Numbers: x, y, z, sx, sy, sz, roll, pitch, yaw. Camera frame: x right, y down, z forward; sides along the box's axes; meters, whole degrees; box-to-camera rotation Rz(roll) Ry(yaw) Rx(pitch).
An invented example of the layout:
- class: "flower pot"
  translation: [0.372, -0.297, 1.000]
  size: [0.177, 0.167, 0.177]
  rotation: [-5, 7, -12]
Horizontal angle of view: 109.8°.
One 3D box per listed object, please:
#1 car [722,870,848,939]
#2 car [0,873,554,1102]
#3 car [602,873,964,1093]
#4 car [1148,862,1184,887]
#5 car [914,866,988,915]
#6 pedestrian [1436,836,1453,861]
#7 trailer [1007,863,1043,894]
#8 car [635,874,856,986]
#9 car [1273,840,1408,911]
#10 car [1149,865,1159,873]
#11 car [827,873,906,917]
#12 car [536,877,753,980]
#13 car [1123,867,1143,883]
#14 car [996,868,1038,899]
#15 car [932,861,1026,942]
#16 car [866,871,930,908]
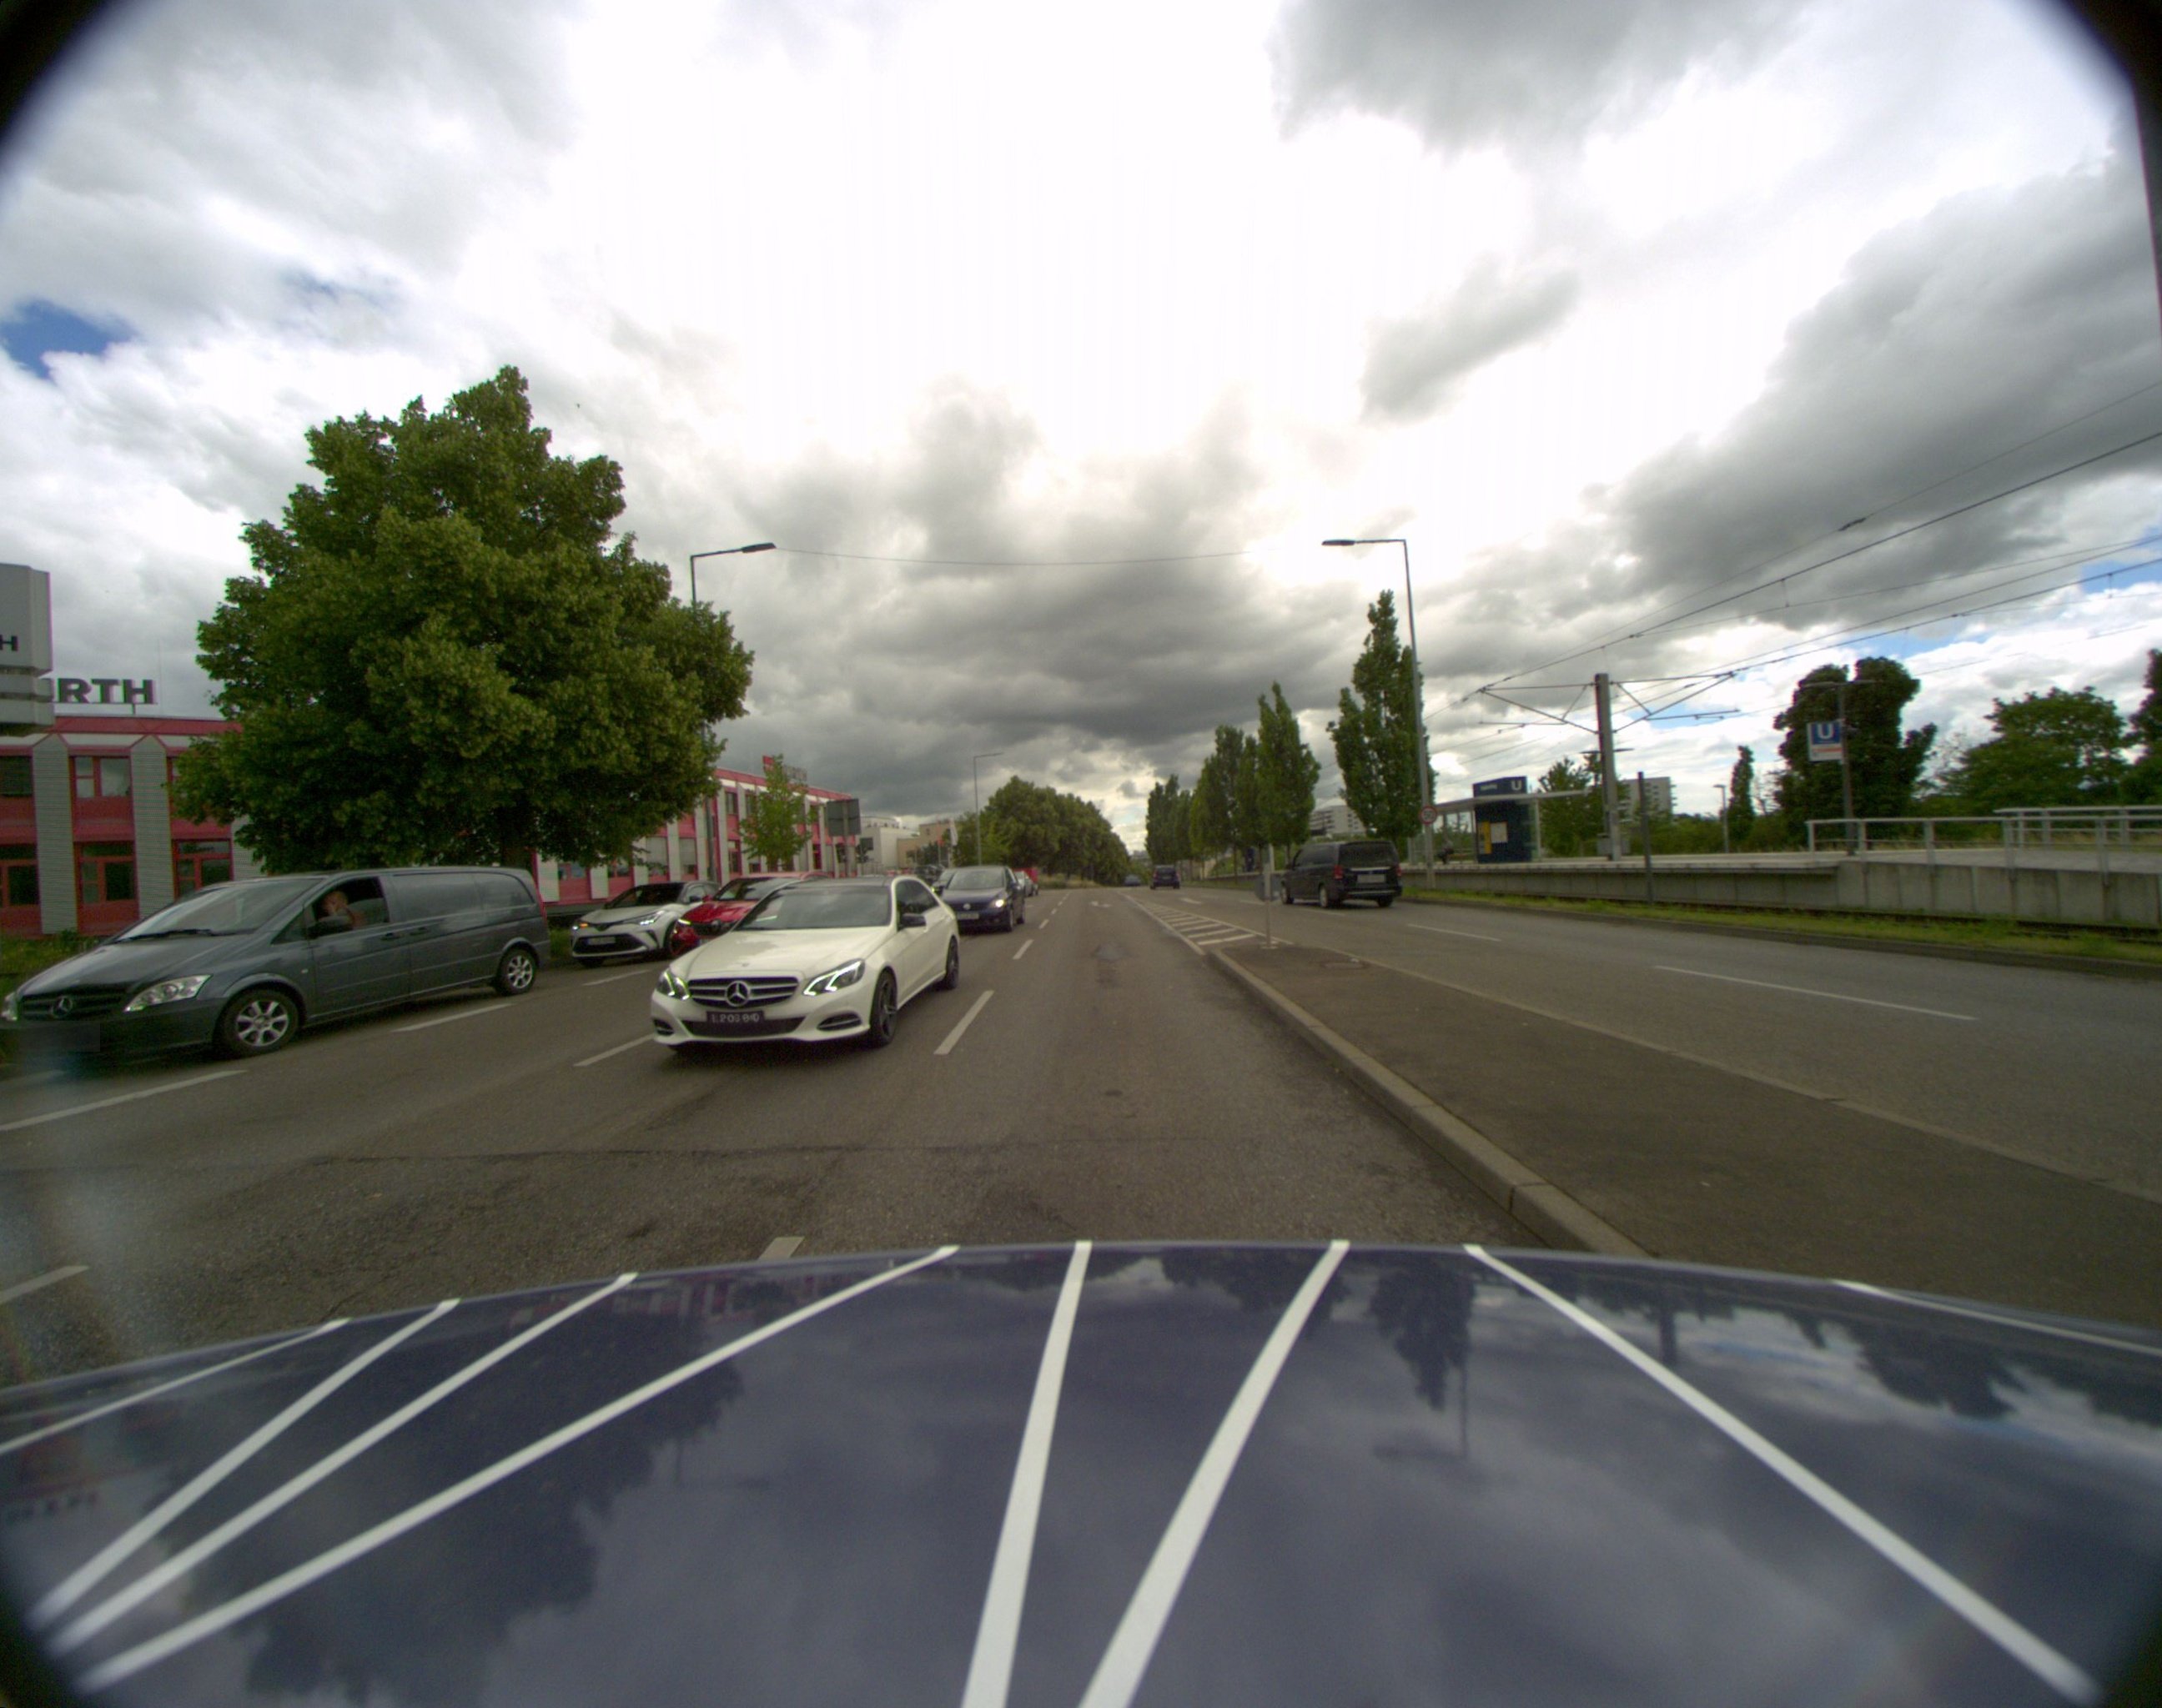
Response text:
- class: "car"
  translation: [-8.447, 1.376, 22.141]
  size: [1.865, 1.648, 4.209]
  rotation: [-4, -1, 1]
- class: "car"
  translation: [-8.748, 1.219, 8.799]
  size: [1.763, 1.764, 4.676]
  rotation: [-6, -1, 2]
- class: "car"
  translation: [-2.544, 1.017, 7.779]
  size: [1.804, 1.403, 4.317]
  rotation: [-2, 1, 2]
- class: "car"
  translation: [5.574, 1.303, 50.163]
  size: [1.740, 1.499, 3.659]
  rotation: [-2, 0, -2]
- class: "car"
  translation: [-4.810, 1.302, 28.723]
  size: [1.797, 1.521, 4.219]
  rotation: [-2, 1, 3]
- class: "pedestrian"
  translation: [17.595, -0.269, 36.775]
  size: [0.601, 1.148, 0.447]
  rotation: [-2, 1, 1]
- class: "trailer"
  translation: [-3.350, 1.449, 46.074]
  size: [1.775, 1.650, 3.996]
  rotation: [-2, 1, 1]
- class: "car"
  translation: [-5.573, 1.180, 13.335]
  size: [1.851, 1.521, 4.377]
  rotation: [-2, -1, 0]
- class: "car"
  translation: [7.444, 0.598, 22.429]
  size: [1.893, 1.802, 5.091]
  rotation: [-2, -1, -4]
- class: "car"
  translation: [14.587, 3.070, 152.013]
  size: [1.699, 1.440, 3.661]
  rotation: [-2, 0, 4]
- class: "car"
  translation: [-8.333, 1.561, 29.939]
  size: [1.763, 1.431, 4.370]
  rotation: [-3, 0, 0]
- class: "car"
  translation: [-8.595, 1.385, 15.468]
  size: [1.844, 1.507, 4.106]
  rotation: [-6, 0, 1]
- class: "car"
  translation: [5.721, 2.303, 83.813]
  size: [1.761, 1.519, 3.599]
  rotation: [-2, 1, -3]
- class: "car"
  translation: [-3.490, 1.570, 41.854]
  size: [1.775, 1.442, 4.401]
  rotation: [-2, 1, 1]
- class: "car"
  translation: [-2.354, 1.050, 18.434]
  size: [1.669, 1.589, 3.996]
  rotation: [-2, 1, 0]
- class: "car"
  translation: [-8.289, 1.579, 34.829]
  size: [1.763, 1.431, 4.370]
  rotation: [-3, 0, 0]
